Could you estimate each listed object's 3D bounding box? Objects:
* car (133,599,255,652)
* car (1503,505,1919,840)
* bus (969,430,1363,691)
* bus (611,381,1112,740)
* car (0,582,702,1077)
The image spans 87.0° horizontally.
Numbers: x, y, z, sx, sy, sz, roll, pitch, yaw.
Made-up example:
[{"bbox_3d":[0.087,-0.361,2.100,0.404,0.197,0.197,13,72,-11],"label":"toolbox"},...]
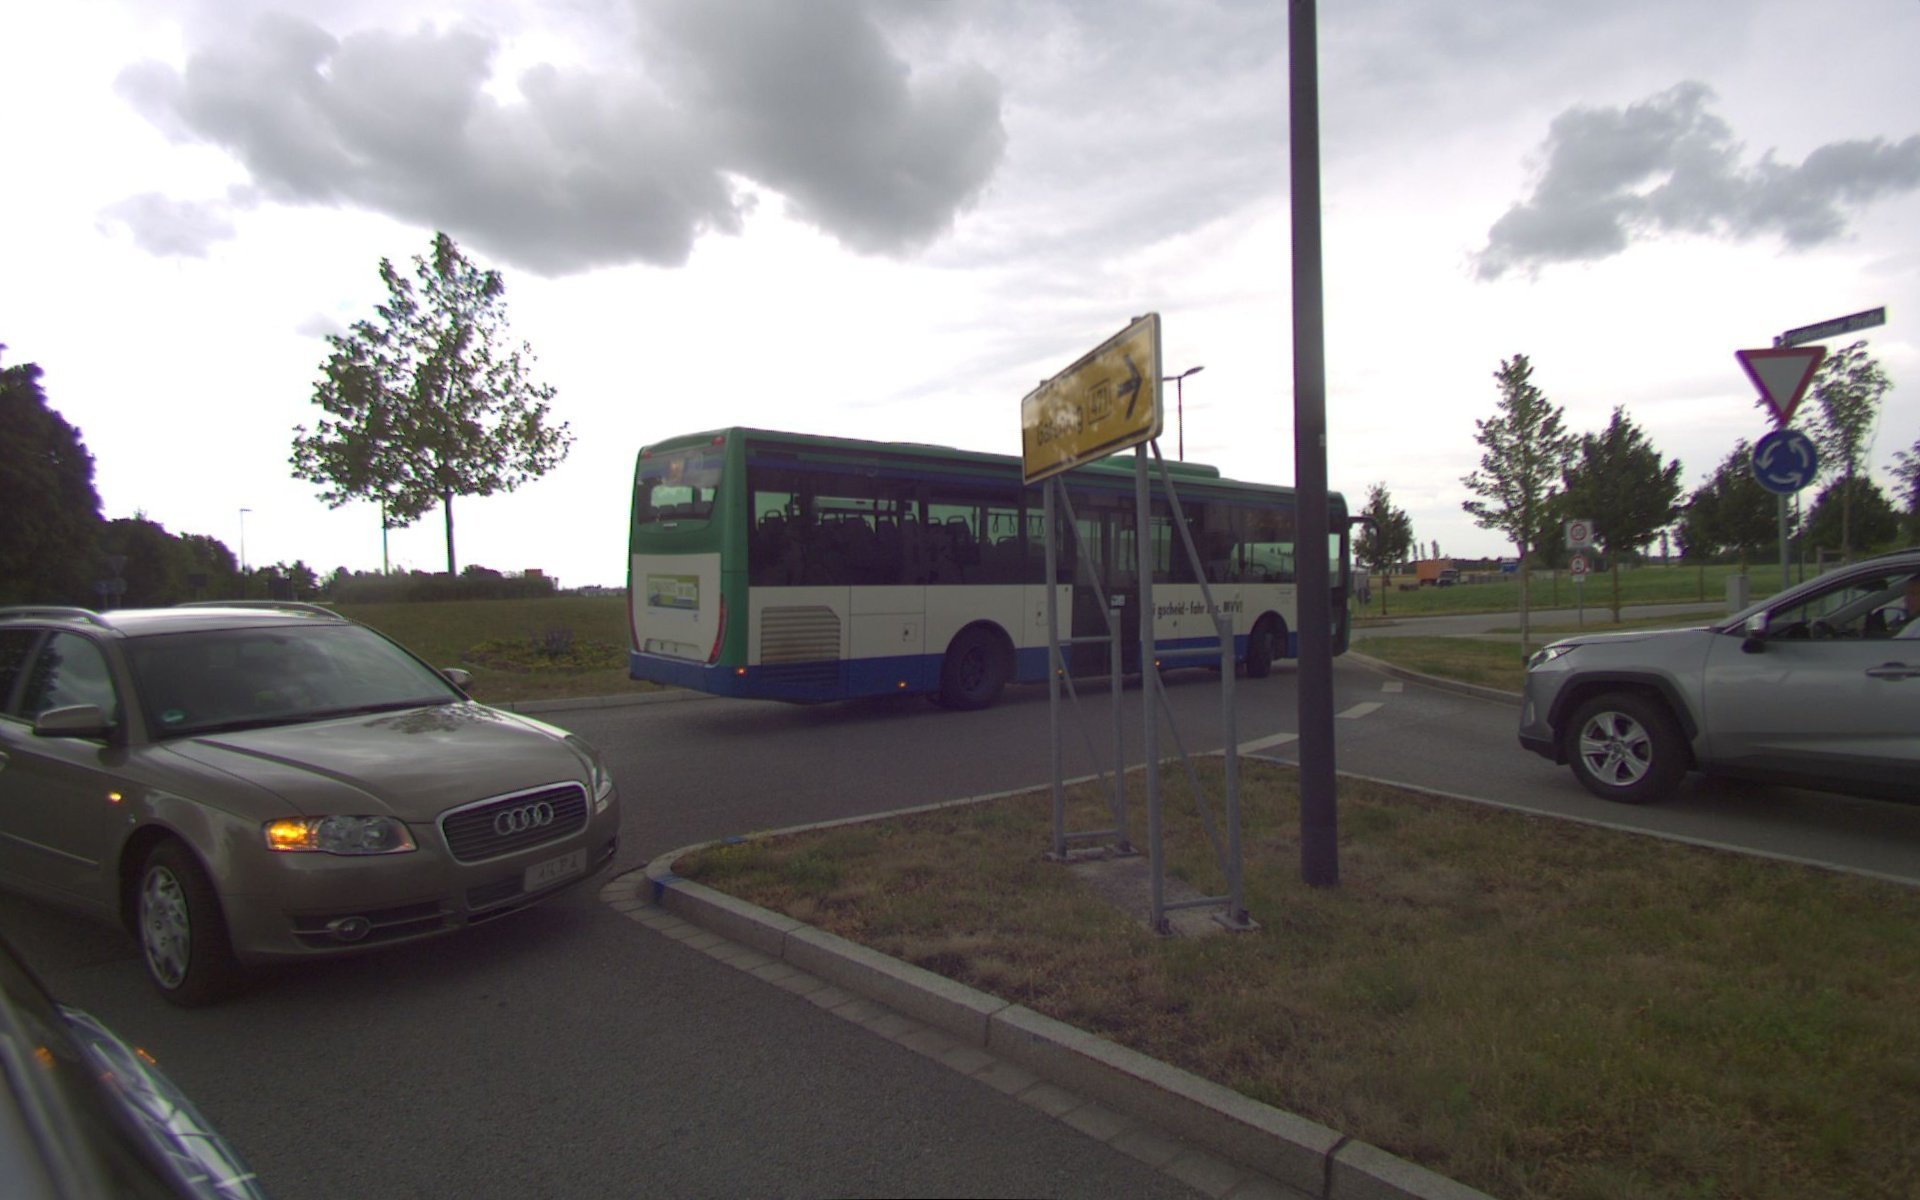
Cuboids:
[{"bbox_3d":[-25.978,0.826,34.501,1.752,1.552,4.010,-2,1,-12],"label":"car"},{"bbox_3d":[5.821,0.387,5.588,1.965,1.717,4.649,1,-1,-29],"label":"car"},{"bbox_3d":[3.421,-0.516,15.753,6.445,3.283,2.529,-1,0,-40],"label":"bus"},{"bbox_3d":[-0.993,-0.377,11.943,5.373,3.283,2.530,-1,0,-39],"label":"bus"},{"bbox_3d":[-3.573,0.730,4.894,4.520,1.476,1.766,-1,-1,29],"label":"car"}]
